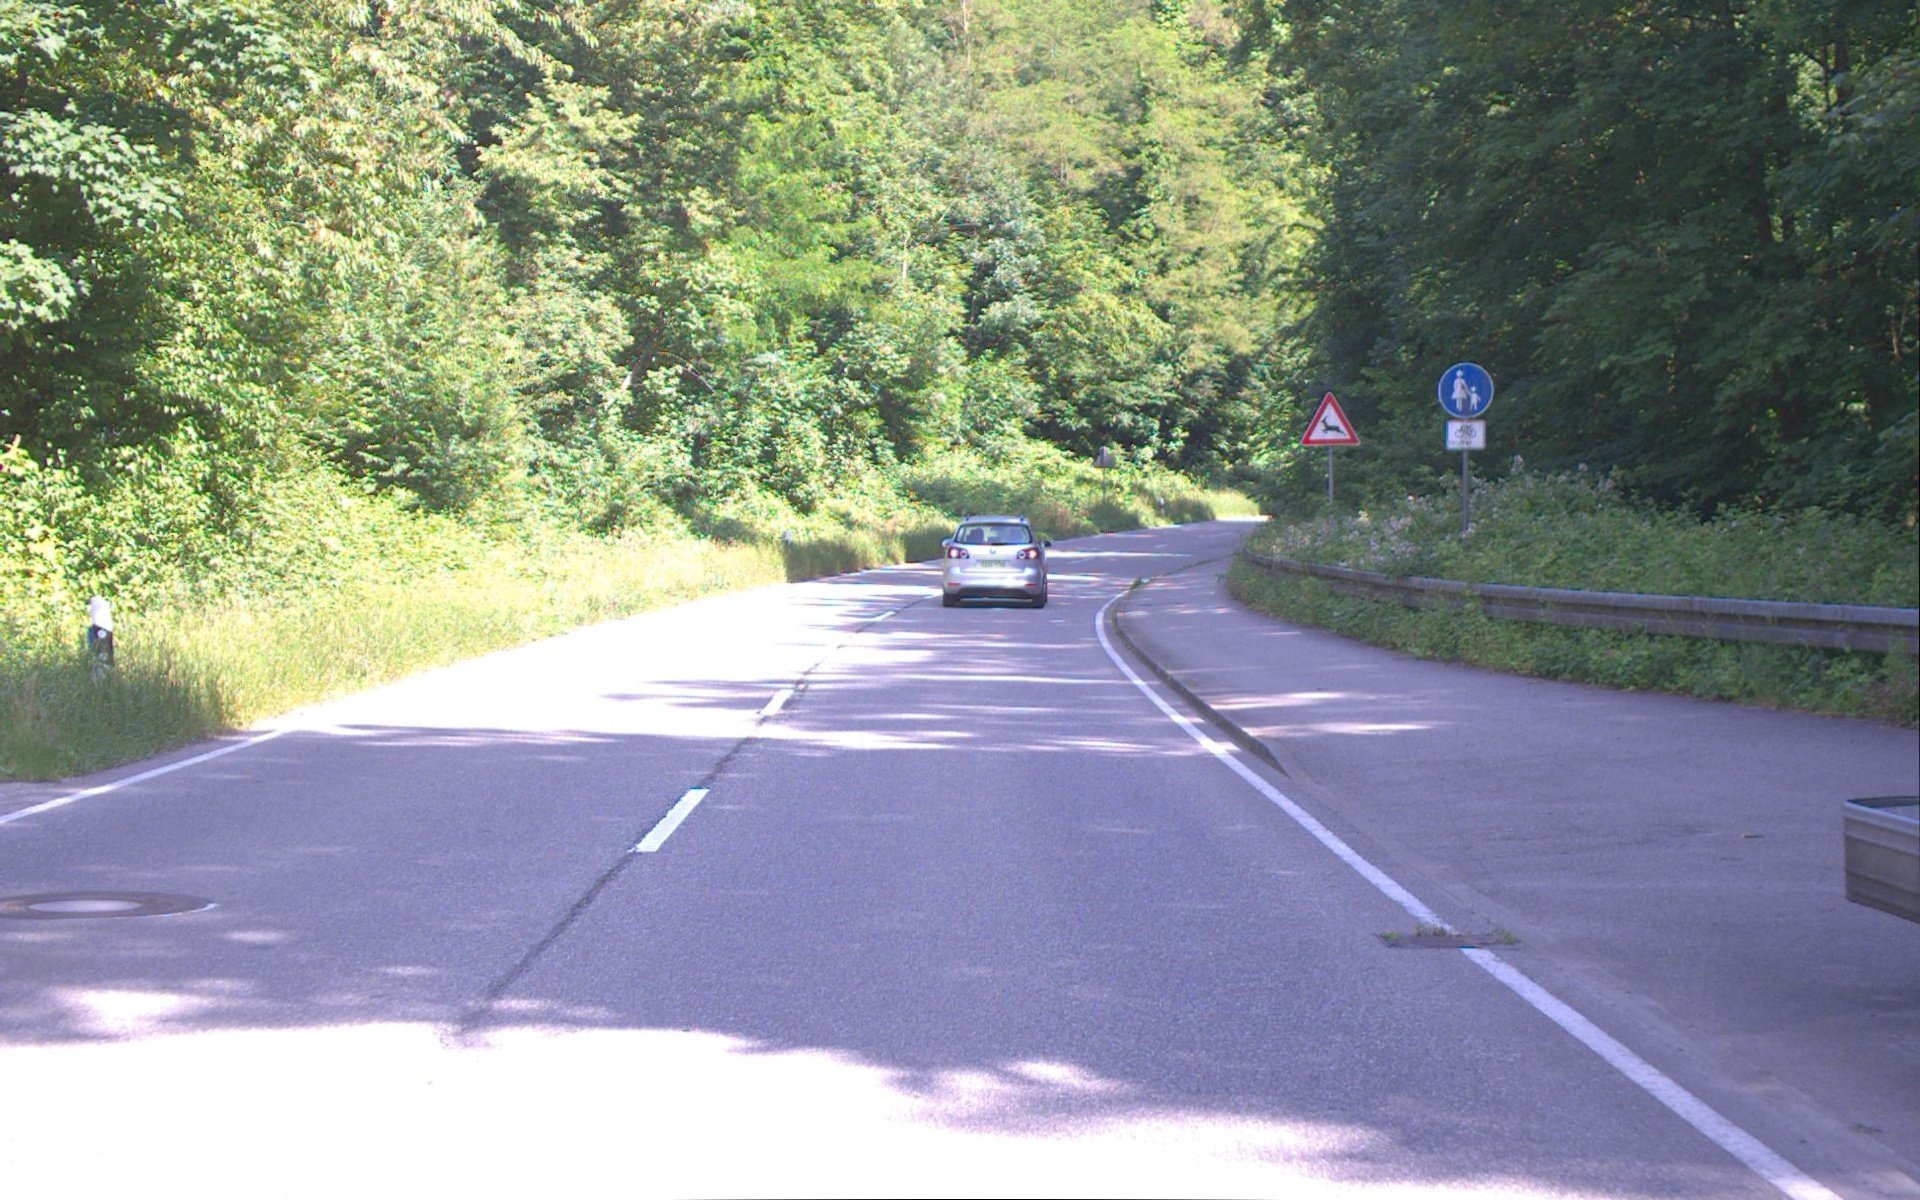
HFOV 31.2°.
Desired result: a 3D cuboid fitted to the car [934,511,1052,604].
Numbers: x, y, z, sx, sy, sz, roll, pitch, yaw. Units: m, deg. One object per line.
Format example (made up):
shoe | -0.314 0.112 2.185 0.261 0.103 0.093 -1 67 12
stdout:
car | 0.602 -0.765 59.744 1.751 1.514 4.159 1 2 4
